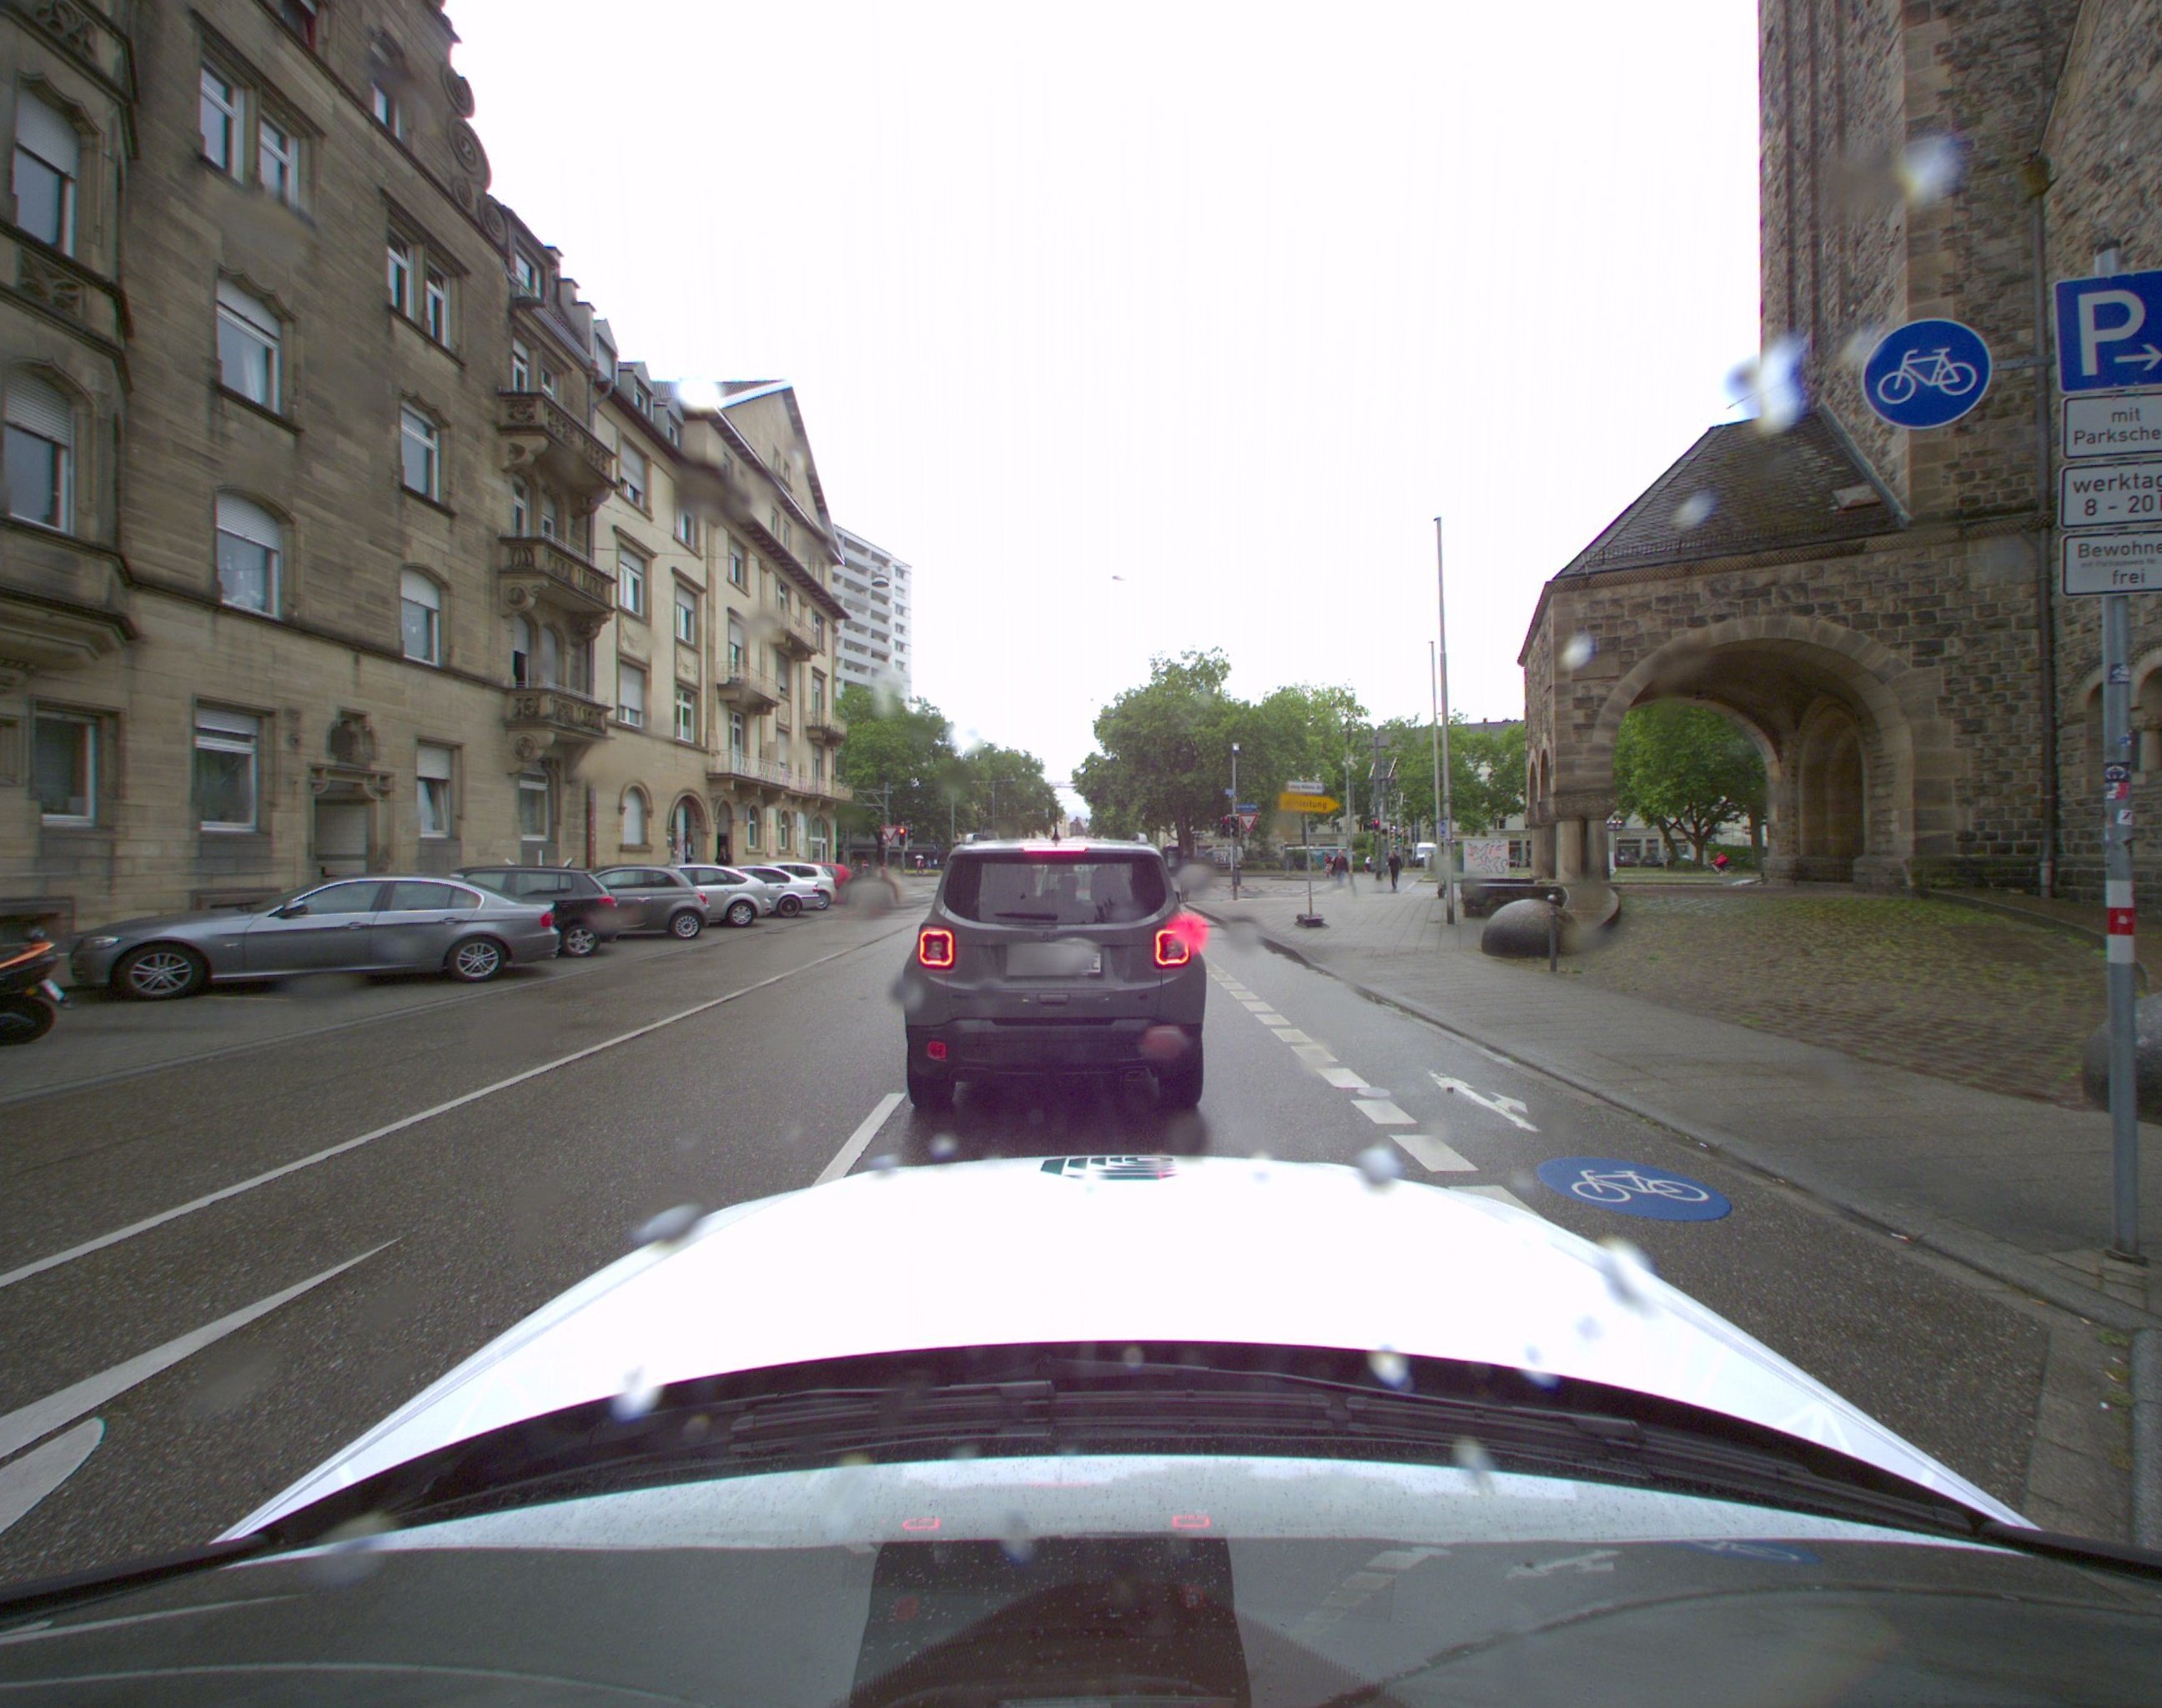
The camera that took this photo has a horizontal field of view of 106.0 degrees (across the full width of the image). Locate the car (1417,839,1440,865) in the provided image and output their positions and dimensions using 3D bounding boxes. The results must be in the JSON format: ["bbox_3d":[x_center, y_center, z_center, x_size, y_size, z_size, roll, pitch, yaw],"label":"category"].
[{"bbox_3d":[35.508,-0.155,83.199,1.889,2.555,4.815,-1,0,25],"label":"car"}]

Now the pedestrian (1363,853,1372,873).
[{"bbox_3d":[23.191,0.707,65.841,0.607,1.603,0.497,-1,-1,26],"label":"pedestrian"}]

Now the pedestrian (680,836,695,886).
[{"bbox_3d":[-14.486,0.257,29.998,0.365,1.823,0.347,-2,-1,-1],"label":"pedestrian"}]

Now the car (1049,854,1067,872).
[{"bbox_3d":[-2.404,0.922,84.644,1.717,1.739,3.726,-1,0,-2],"label":"car"}]

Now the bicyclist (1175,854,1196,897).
[{"bbox_3d":[3.981,0.814,30.992,0.682,1.617,0.887,-2,0,12],"label":"bicyclist"}]

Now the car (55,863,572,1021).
[{"bbox_3d":[-9.409,0.931,10.537,4.573,1.545,1.668,-1,0,-42],"label":"car"}]

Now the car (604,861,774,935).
[{"bbox_3d":[-9.388,0.985,19.578,3.419,1.558,1.686,-1,0,-38],"label":"car"}]

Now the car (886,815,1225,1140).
[{"bbox_3d":[-0.113,0.664,6.287,1.769,1.687,3.848,-2,0,1],"label":"car"}]

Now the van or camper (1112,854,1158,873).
[{"bbox_3d":[8.207,1.470,124.756,6.466,2.912,2.509,-1,0,26],"label":"van or camper"}]

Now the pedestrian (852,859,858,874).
[{"bbox_3d":[-23.808,1.319,85.829,0.440,1.530,0.643,-1,-1,0],"label":"pedestrian"}]

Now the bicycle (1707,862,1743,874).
[{"bbox_3d":[41.737,0.897,52.784,1.683,0.719,0.656,-1,0,22],"label":"bicycle"}]

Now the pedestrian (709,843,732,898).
[{"bbox_3d":[-13.469,0.601,30.434,0.565,2.014,0.655,-1,-1,1],"label":"pedestrian"}]

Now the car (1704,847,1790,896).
[{"bbox_3d":[21.467,0.538,26.359,1.389,1.479,3.239,-1,0,25],"label":"car"}]

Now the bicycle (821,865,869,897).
[{"bbox_3d":[-9.706,1.107,33.564,1.804,1.266,0.498,-1,-1,-1],"label":"bicycle"}]

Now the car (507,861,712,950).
[{"bbox_3d":[-9.536,0.959,16.551,3.419,1.558,1.634,-1,0,-38],"label":"car"}]

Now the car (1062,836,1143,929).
[{"bbox_3d":[0.519,0.635,19.961,1.764,2.013,4.001,-1,0,1],"label":"car"}]

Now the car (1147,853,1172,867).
[{"bbox_3d":[11.467,0.909,119.264,3.411,2.014,1.554,-2,-1,15],"label":"car"}]

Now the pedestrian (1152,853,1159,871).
[{"bbox_3d":[8.426,0.877,92.335,0.646,2.014,0.484,-1,-1,14],"label":"pedestrian"}]

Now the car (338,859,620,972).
[{"bbox_3d":[-9.778,0.901,13.466,3.571,1.598,1.587,-1,0,-38],"label":"car"}]

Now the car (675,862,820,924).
[{"bbox_3d":[-9.282,1.018,22.761,3.419,1.558,1.686,-1,0,-38],"label":"car"}]

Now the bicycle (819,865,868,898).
[{"bbox_3d":[-9.595,1.094,32.878,1.804,1.266,0.498,-1,-1,-1],"label":"bicycle"}]

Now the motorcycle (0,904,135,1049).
[{"bbox_3d":[-9.406,1.020,6.761,1.880,1.162,0.627,2,-2,-36],"label":"motorcycle"}]

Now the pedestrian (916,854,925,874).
[{"bbox_3d":[-15.161,0.923,76.876,0.614,1.826,0.697,-2,-1,15],"label":"pedestrian"}]

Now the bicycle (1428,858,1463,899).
[{"bbox_3d":[11.007,0.717,24.648,0.327,1.154,2.079,-1,0,7],"label":"bicycle"}]

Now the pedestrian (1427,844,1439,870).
[{"bbox_3d":[27.910,0.225,64.604,0.798,2.014,0.593,-1,-1,28],"label":"pedestrian"}]

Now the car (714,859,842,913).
[{"bbox_3d":[-9.508,0.962,25.626,3.419,1.558,1.686,-1,0,-38],"label":"car"}]

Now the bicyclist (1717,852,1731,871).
[{"bbox_3d":[41.710,0.493,52.815,0.518,1.250,0.656,-1,-1,23],"label":"bicyclist"}]

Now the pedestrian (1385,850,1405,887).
[{"bbox_3d":[14.220,0.648,36.900,0.775,1.645,0.659,-2,-1,25],"label":"pedestrian"}]

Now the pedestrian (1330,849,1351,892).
[{"bbox_3d":[10.915,0.687,34.299,0.780,1.759,0.949,-2,-1,16],"label":"pedestrian"}]

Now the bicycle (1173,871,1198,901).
[{"bbox_3d":[3.986,1.193,30.952,0.687,1.021,2.667,-2,0,13],"label":"bicycle"}]

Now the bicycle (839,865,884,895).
[{"bbox_3d":[-9.566,1.140,35.470,1.758,1.266,0.608,-1,-1,-1],"label":"bicycle"}]

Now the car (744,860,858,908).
[{"bbox_3d":[-9.766,1.001,28.501,3.419,1.558,1.686,-1,0,-38],"label":"car"}]

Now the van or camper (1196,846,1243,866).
[{"bbox_3d":[16.013,0.217,94.607,5.234,2.315,2.093,0,0,5],"label":"van or camper"}]

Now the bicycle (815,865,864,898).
[{"bbox_3d":[-9.592,1.100,32.331,1.758,1.266,0.522,-1,-1,-1],"label":"bicycle"}]

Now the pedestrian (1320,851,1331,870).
[{"bbox_3d":[20.335,0.580,67.702,0.667,1.554,0.766,-1,-2,29],"label":"pedestrian"}]
